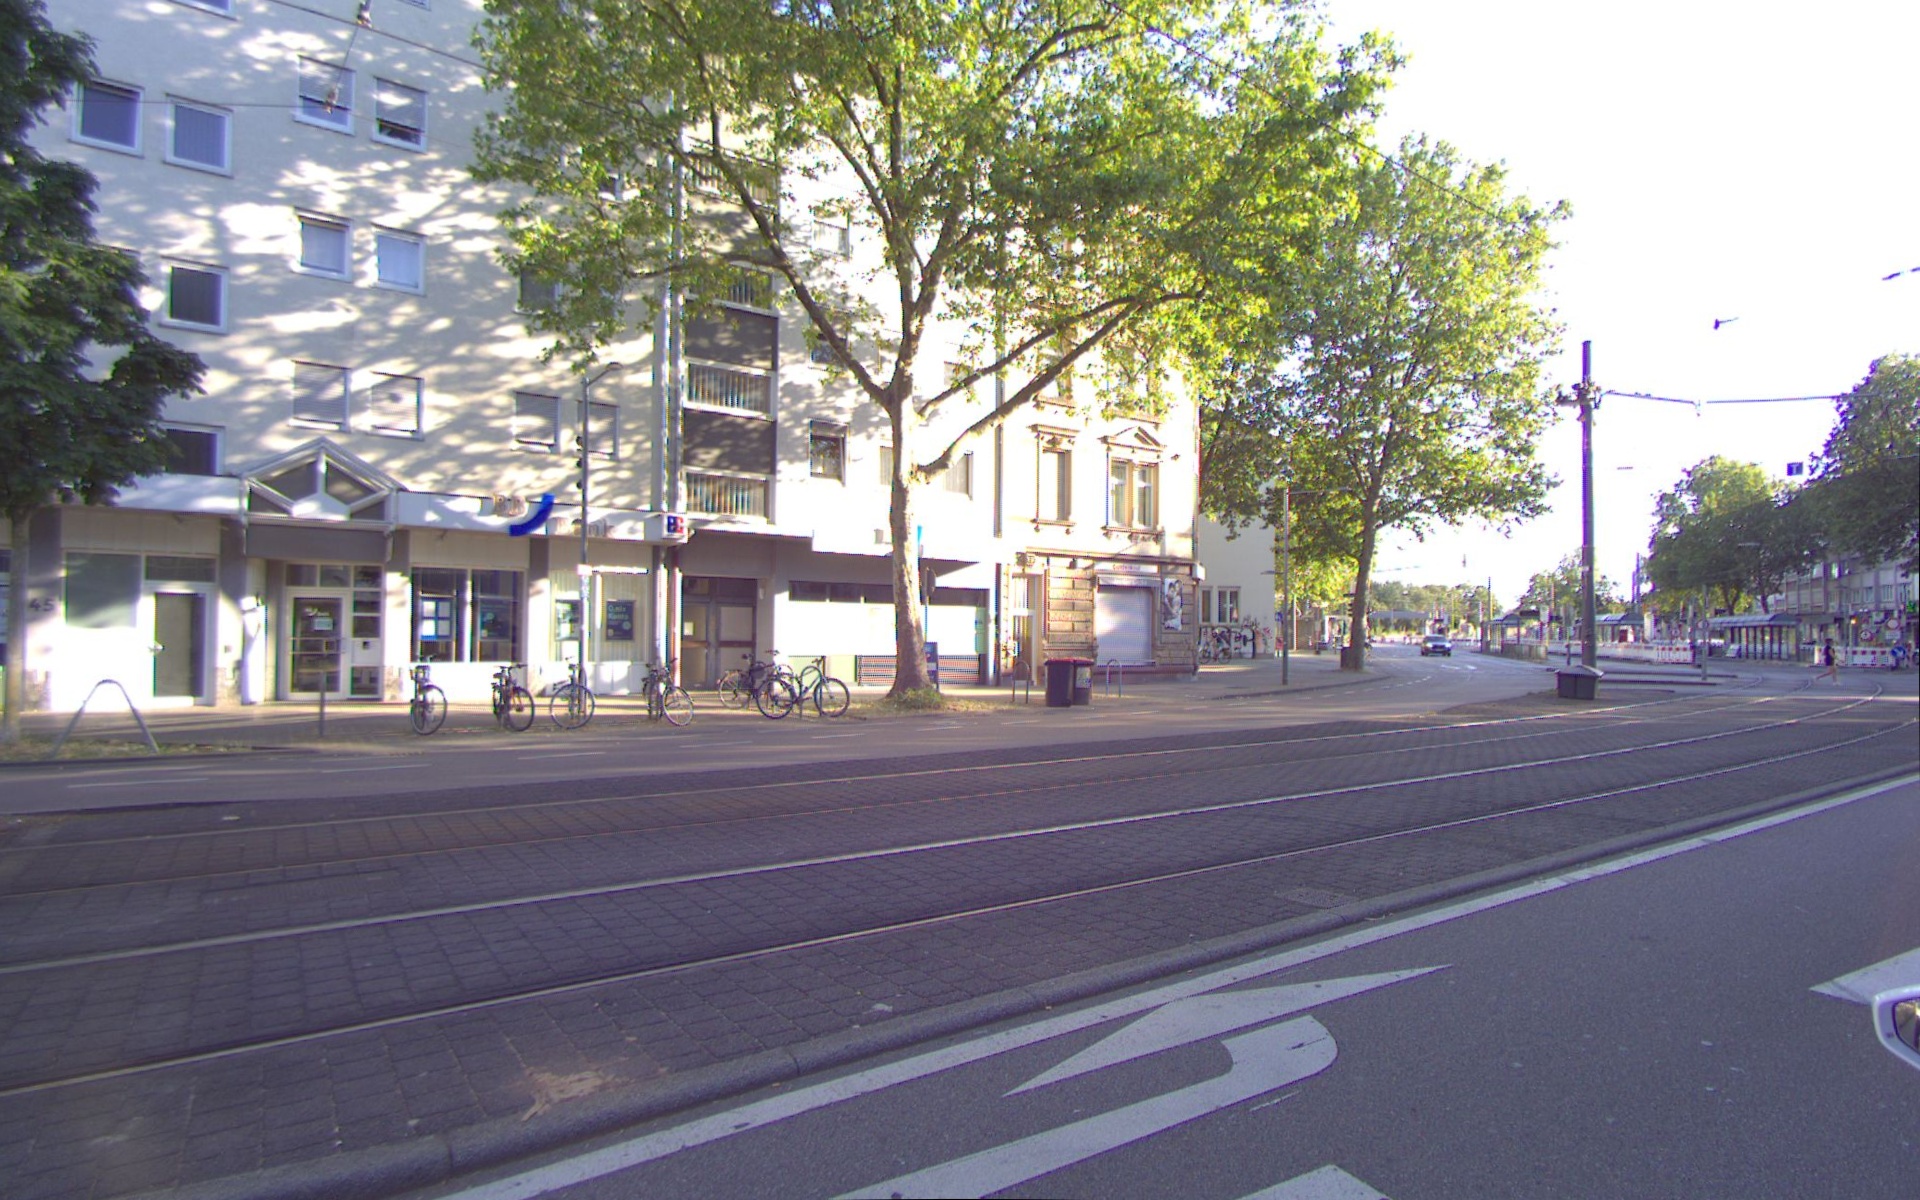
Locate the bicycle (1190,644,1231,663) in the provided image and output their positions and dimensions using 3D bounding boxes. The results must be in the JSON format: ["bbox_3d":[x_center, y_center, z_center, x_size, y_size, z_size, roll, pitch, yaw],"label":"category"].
[{"bbox_3d":[12.678,2.701,50.863,1.984,0.950,0.761,0,-2,11],"label":"bicycle"}]

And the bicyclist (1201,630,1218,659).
[{"bbox_3d":[12.627,2.258,50.889,0.825,1.463,0.756,0,-2,11],"label":"bicyclist"}]

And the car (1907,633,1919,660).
[{"bbox_3d":[64.516,3.098,65.918,1.960,1.815,4.000,2,-1,20],"label":"car"}]

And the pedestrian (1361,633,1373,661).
[{"bbox_3d":[24.956,2.895,61.642,0.645,1.678,0.444,0,-2,18],"label":"pedestrian"}]

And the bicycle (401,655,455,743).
[{"bbox_3d":[-7.832,1.410,14.750,0.506,1.153,1.729,2,-1,-34],"label":"bicycle"}]

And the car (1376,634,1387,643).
[{"bbox_3d":[79.445,7.249,189.331,1.814,1.706,3.716,0,-2,23],"label":"car"}]

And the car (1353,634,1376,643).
[{"bbox_3d":[78.231,7.429,194.285,3.919,1.661,1.792,0,-2,13],"label":"car"}]

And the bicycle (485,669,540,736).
[{"bbox_3d":[-6.956,1.557,15.577,0.467,0.900,1.729,2,-1,-34],"label":"bicycle"}]

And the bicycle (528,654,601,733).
[{"bbox_3d":[-6.346,1.459,16.082,0.724,1.128,1.729,2,-1,-34],"label":"bicycle"}]

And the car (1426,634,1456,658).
[{"bbox_3d":[35.584,3.388,74.361,1.962,1.661,3.997,0,-2,25],"label":"car"}]

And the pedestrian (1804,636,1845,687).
[{"bbox_3d":[30.112,2.128,34.973,0.639,1.708,0.985,3,-2,-41],"label":"pedestrian"}]

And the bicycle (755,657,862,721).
[{"bbox_3d":[-2.719,1.582,18.123,1.800,1.091,0.649,2,-2,-29],"label":"bicycle"}]

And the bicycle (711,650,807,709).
[{"bbox_3d":[-4.021,1.578,20.121,1.777,1.132,0.617,2,-2,-29],"label":"bicycle"}]

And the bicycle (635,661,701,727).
[{"bbox_3d":[-5.021,1.577,17.194,0.584,1.002,1.729,2,-1,-34],"label":"bicycle"}]

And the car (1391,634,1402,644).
[{"bbox_3d":[78.767,7.082,181.348,1.814,1.706,3.715,-2,-2,23],"label":"car"}]

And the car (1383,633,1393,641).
[{"bbox_3d":[89.562,7.801,210.280,1.814,1.706,3.716,0,-2,23],"label":"car"}]
